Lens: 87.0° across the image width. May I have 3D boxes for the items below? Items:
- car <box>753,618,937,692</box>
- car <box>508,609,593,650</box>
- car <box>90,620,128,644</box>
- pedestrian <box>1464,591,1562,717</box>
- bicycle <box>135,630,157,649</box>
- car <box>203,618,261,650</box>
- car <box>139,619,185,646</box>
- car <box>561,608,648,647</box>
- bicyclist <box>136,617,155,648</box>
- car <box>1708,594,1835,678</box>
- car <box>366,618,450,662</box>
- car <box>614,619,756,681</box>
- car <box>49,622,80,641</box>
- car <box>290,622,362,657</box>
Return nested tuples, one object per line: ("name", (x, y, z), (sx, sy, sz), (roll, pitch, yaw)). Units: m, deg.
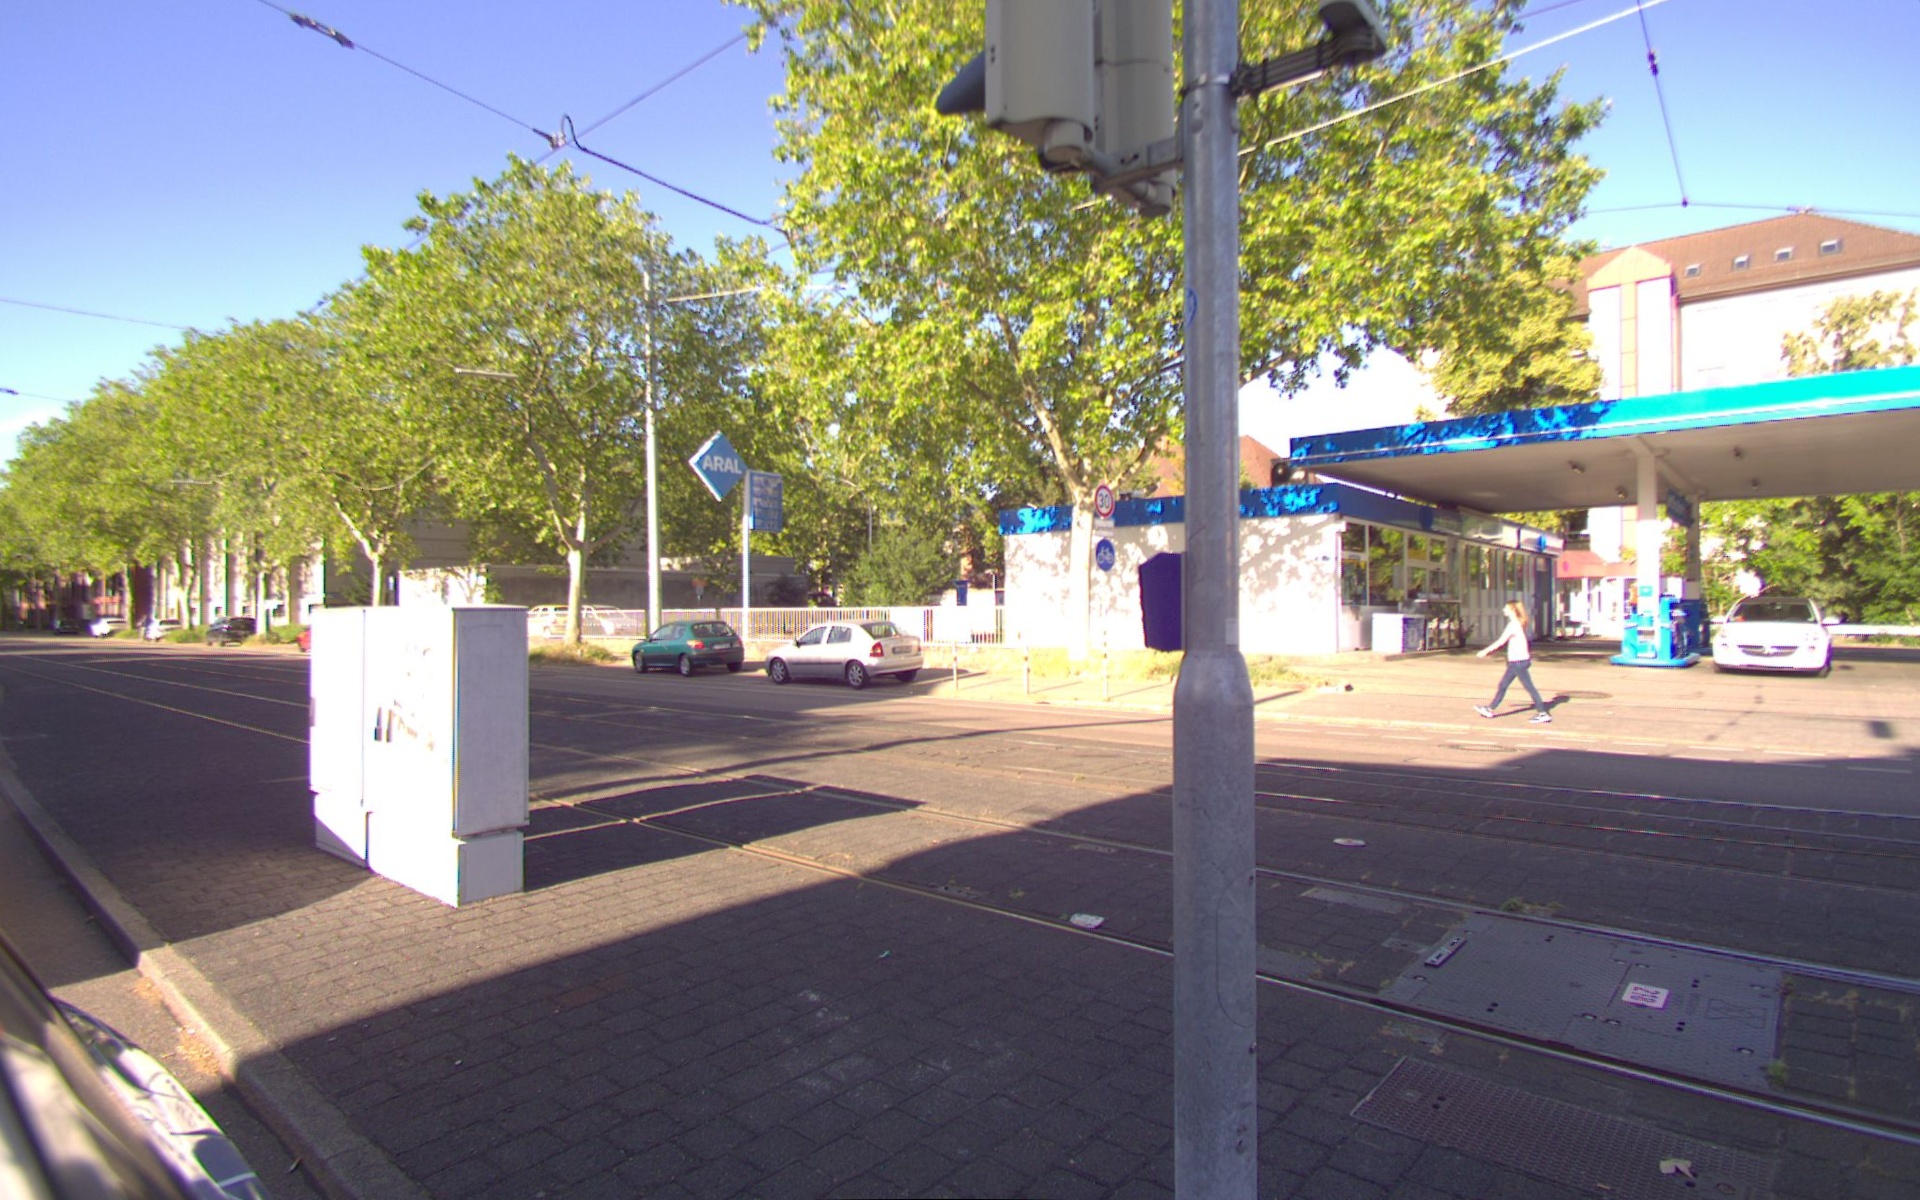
("car", (-2.623, 1.178, 22.649), (3.997, 1.418, 1.823), (-1, 1, 40))
("car", (-17.133, 1.197, 42.285), (4.002, 1.545, 1.820), (-1, 1, 45))
("car", (-66.939, 2.491, 79.587), (4.098, 1.686, 1.821), (-1, 1, 44))
("pedestrian", (7.429, 0.710, 13.632), (1.101, 1.631, 0.709), (-1, -1, 28))
("bicycle", (-49.867, 2.404, 61.991), (2.532, 1.129, 0.645), (-1, -1, 41))
("car", (-40.654, 1.887, 56.488), (4.098, 1.628, 1.821), (-1, 1, 44))
("car", (-53.836, 2.162, 68.214), (4.098, 1.686, 1.821), (-1, 1, 44))
("car", (-15.392, 1.174, 43.777), (3.999, 1.545, 1.822), (-1, 1, 42))
("bicyclist", (-49.891, 1.986, 62.009), (1.070, 1.878, 0.711), (-1, -2, 41))
("car", (15.999, 0.659, 19.913), (1.780, 1.475, 3.946), (-1, -1, 40))
("car", (-21.964, 1.542, 40.192), (4.002, 1.545, 1.820), (-1, 1, 45))
("car", (-7.429, 1.276, 27.139), (4.138, 1.418, 1.820), (-1, 1, 45))
("car", (-85.034, 2.949, 96.112), (4.098, 1.686, 1.821), (-1, 1, 44))
("car", (-28.963, 1.775, 46.186), (4.001, 1.418, 1.821), (-1, 1, 44))
